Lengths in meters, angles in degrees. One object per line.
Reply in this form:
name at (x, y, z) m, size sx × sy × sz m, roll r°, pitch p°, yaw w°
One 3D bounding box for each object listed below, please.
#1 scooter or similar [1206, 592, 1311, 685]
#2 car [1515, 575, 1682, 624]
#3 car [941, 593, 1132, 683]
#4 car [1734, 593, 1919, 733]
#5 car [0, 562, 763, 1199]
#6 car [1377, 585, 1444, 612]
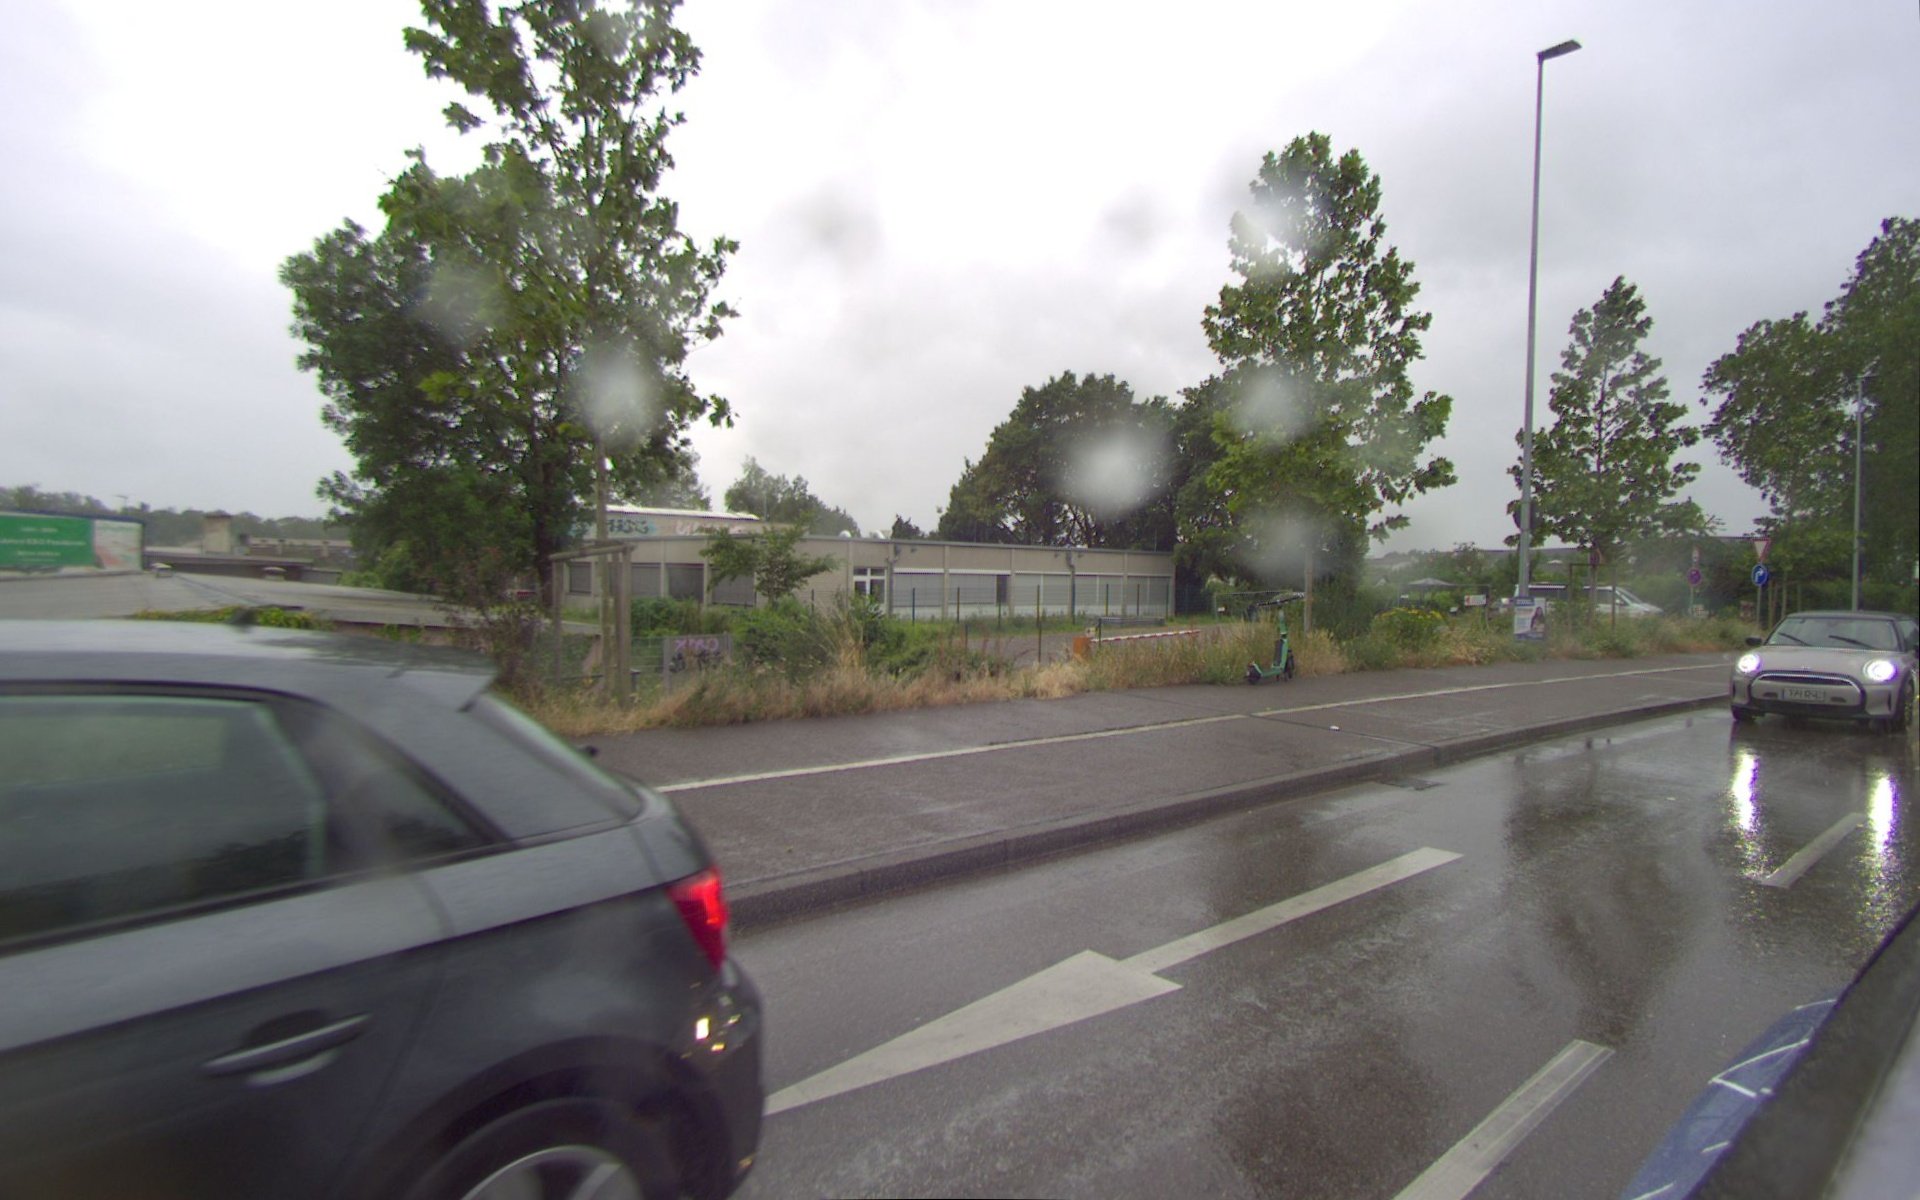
scooter or similar at (4.132, 0.498, 13.925) m, size 1.878 × 1.214 × 0.367 m, roll 0°, pitch 0°, yaw -38°
car at (24.693, -0.027, 39.323) m, size 1.972 × 1.747 × 5.168 m, roll 0°, pitch 0°, yaw -42°
car at (1.150, 0.545, 16.409) m, size 1.319 × 1.304 × 3.246 m, roll 0°, pitch 0°, yaw -35°
car at (11.516, 0.679, 12.992) m, size 3.810 × 1.527 × 1.706 m, roll -1°, pitch 0°, yaw -40°
car at (-2.241, 0.638, 1.398) m, size 3.569 × 1.383 × 1.600 m, roll -1°, pitch 3°, yaw -42°
car at (27.393, -0.098, 61.603) m, size 1.319 × 1.604 × 3.555 m, roll 0°, pitch 0°, yaw -35°
